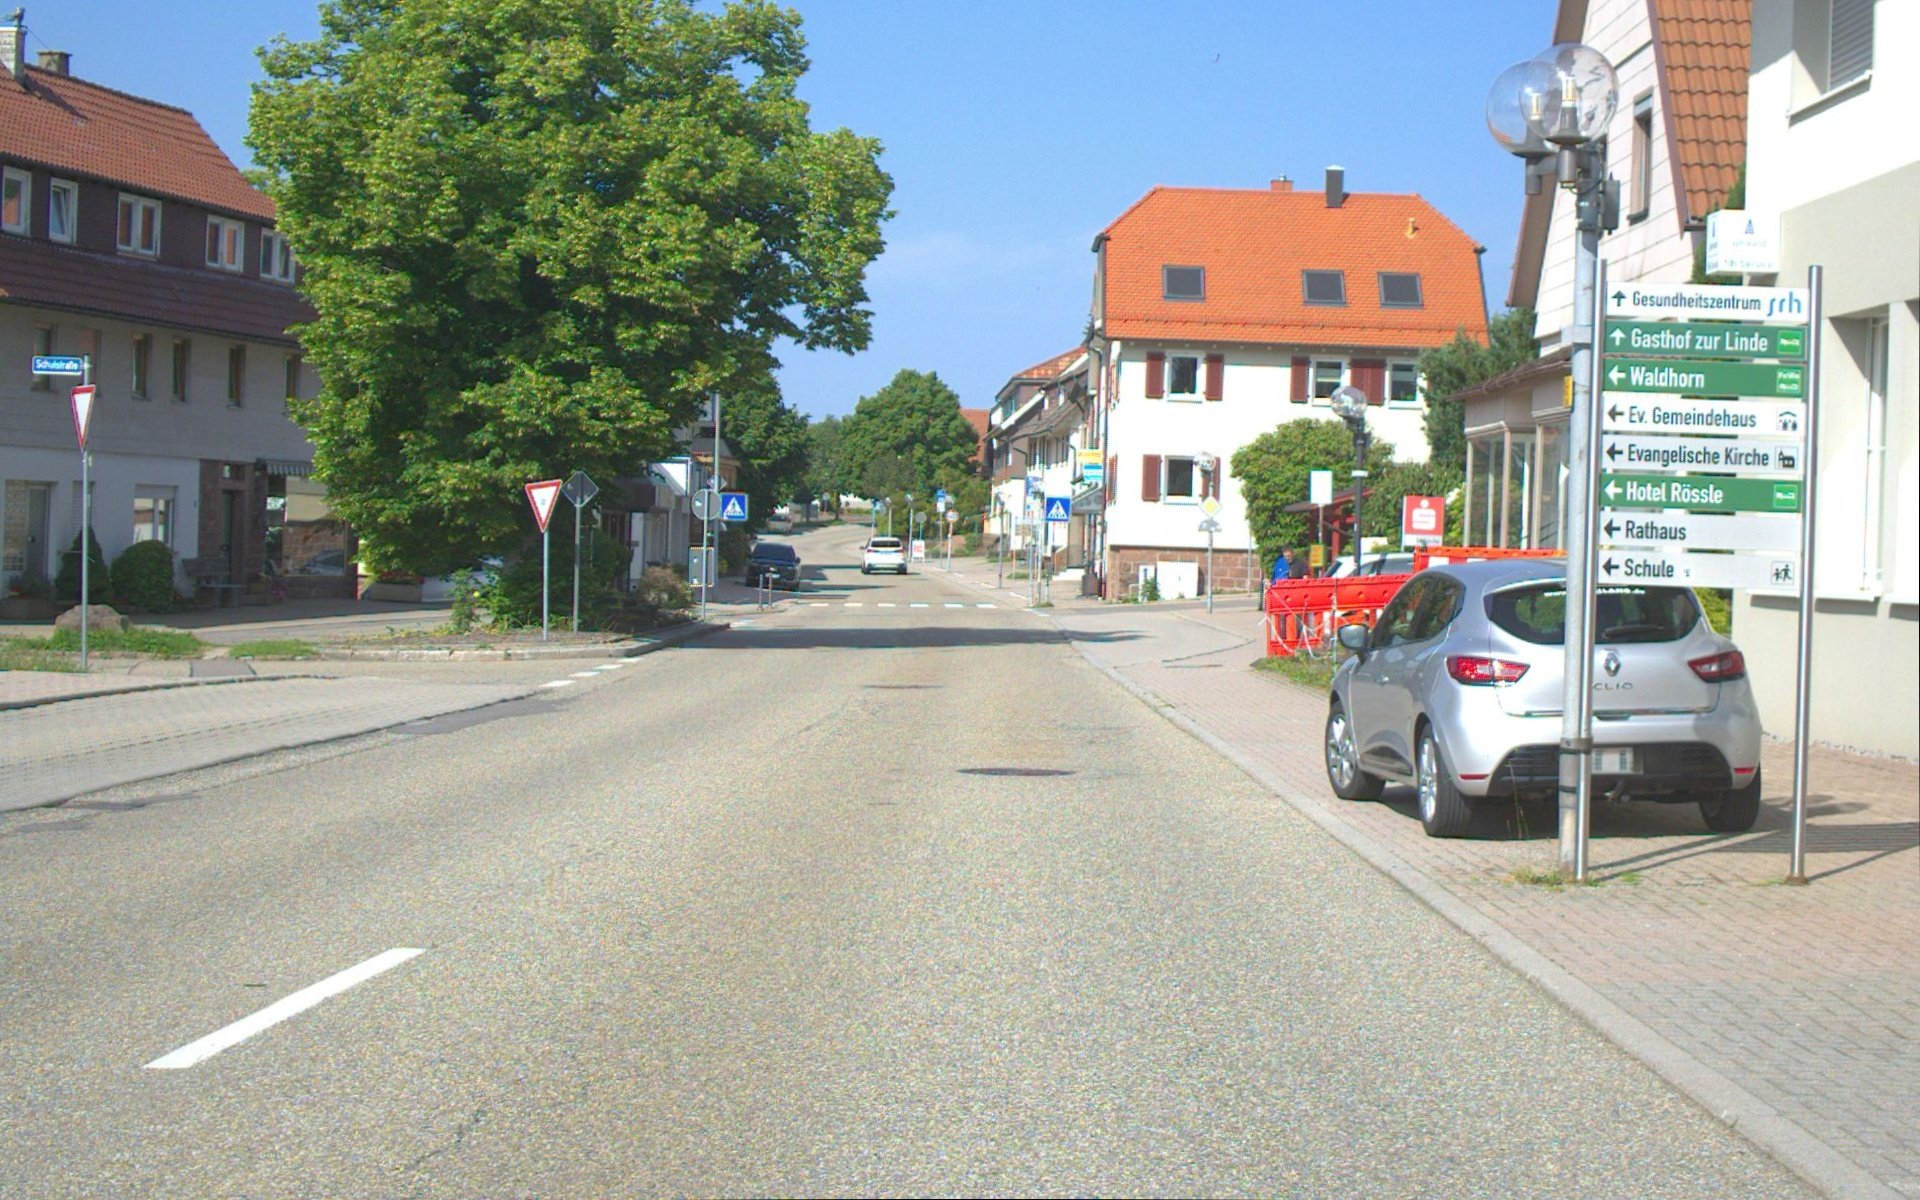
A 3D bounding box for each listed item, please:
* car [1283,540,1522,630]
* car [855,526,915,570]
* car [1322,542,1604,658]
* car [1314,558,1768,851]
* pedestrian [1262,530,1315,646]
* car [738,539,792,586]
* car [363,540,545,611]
[{"bbox_3d":[7.688,-0.271,60.063,3.987,1.543,1.881,0,1,3],"label":"car"},{"bbox_3d":[-3.516,-2.423,160.185,2.495,2.007,4.305,-1,1,-5],"label":"car"},{"bbox_3d":[7.294,-0.026,49.714,3.864,1.553,1.962,1,1,13],"label":"car"},{"bbox_3d":[3.126,0.499,19.237,1.635,1.415,3.936,-1,1,-4],"label":"car"},{"bbox_3d":[5.080,-0.192,53.272,0.799,1.778,0.979,0,1,5],"label":"pedestrian"},{"bbox_3d":[-7.083,-1.367,125.287,1.672,1.528,3.536,5,1,-1],"label":"car"},{"bbox_3d":[-11.686,-0.556,79.450,3.761,1.449,1.816,-1,-4,12],"label":"car"}]
